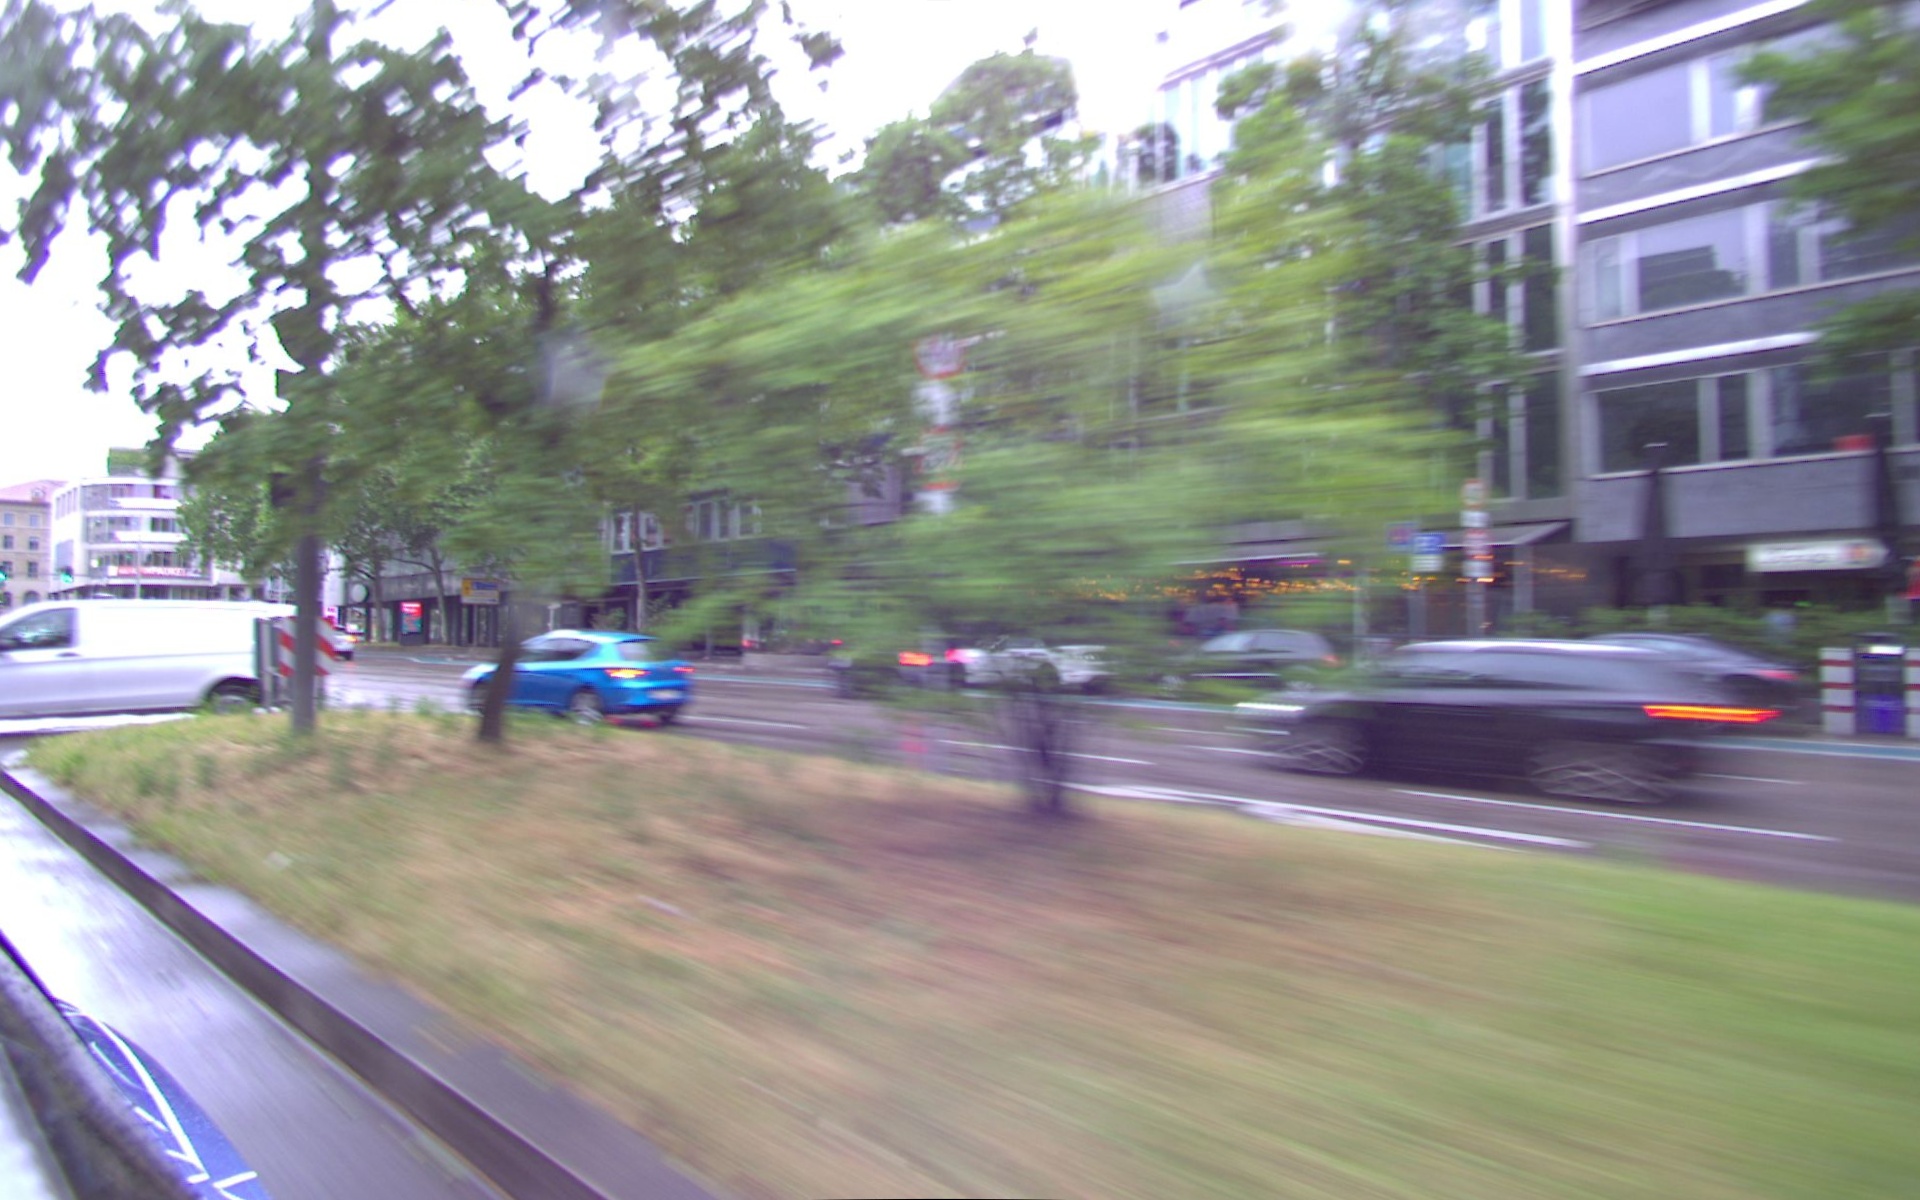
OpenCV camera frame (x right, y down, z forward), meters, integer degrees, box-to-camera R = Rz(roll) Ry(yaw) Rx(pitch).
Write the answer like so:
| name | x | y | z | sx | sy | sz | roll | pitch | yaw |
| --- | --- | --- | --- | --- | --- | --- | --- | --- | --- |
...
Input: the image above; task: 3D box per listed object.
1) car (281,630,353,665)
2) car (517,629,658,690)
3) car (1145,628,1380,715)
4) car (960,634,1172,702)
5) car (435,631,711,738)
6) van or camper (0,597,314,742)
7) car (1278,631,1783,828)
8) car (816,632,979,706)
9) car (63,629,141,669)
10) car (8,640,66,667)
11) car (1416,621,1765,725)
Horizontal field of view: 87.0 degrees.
| name | x | y | z | sx | sy | sz | roll | pitch | yaw |
| --- | --- | --- | --- | --- | --- | --- | --- | --- | --- |
| car | -30.277 | 2.227 | 47.617 | 3.996 | 1.577 | 1.735 | -2 | -3 | 40 |
| car | -9.813 | 1.512 | 26.553 | 4.094 | 1.487 | 1.731 | -2 | -3 | 41 |
| car | 5.814 | 1.335 | 19.717 | 3.997 | 1.519 | 1.818 | -2 | -3 | 41 |
| car | 2.277 | 1.478 | 22.651 | 4.679 | 1.364 | 1.543 | -3 | -2 | 41 |
| car | -6.272 | 1.308 | 16.257 | 4.379 | 1.493 | 1.830 | -3 | -2 | 31 |
| van or camper | -12.586 | 0.972 | 14.793 | 5.164 | 1.928 | 2.005 | 1 | -3 | -36 |
| car | 5.465 | 1.084 | 9.990 | 4.092 | 1.487 | 1.731 | -1 | -1 | 39 |
| car | -1.326 | 1.409 | 20.960 | 3.047 | 1.378 | 1.700 | -3 | -3 | 42 |
| car | -39.954 | 2.282 | 47.085 | 5.103 | 1.780 | 1.818 | -2 | -3 | 39 |
| car | -52.490 | 3.029 | 57.522 | 4.913 | 1.462 | 1.824 | -2 | -3 | 41 |
| car | 9.790 | 1.091 | 15.944 | 4.453 | 1.420 | 1.675 | -2 | -3 | 41 |
